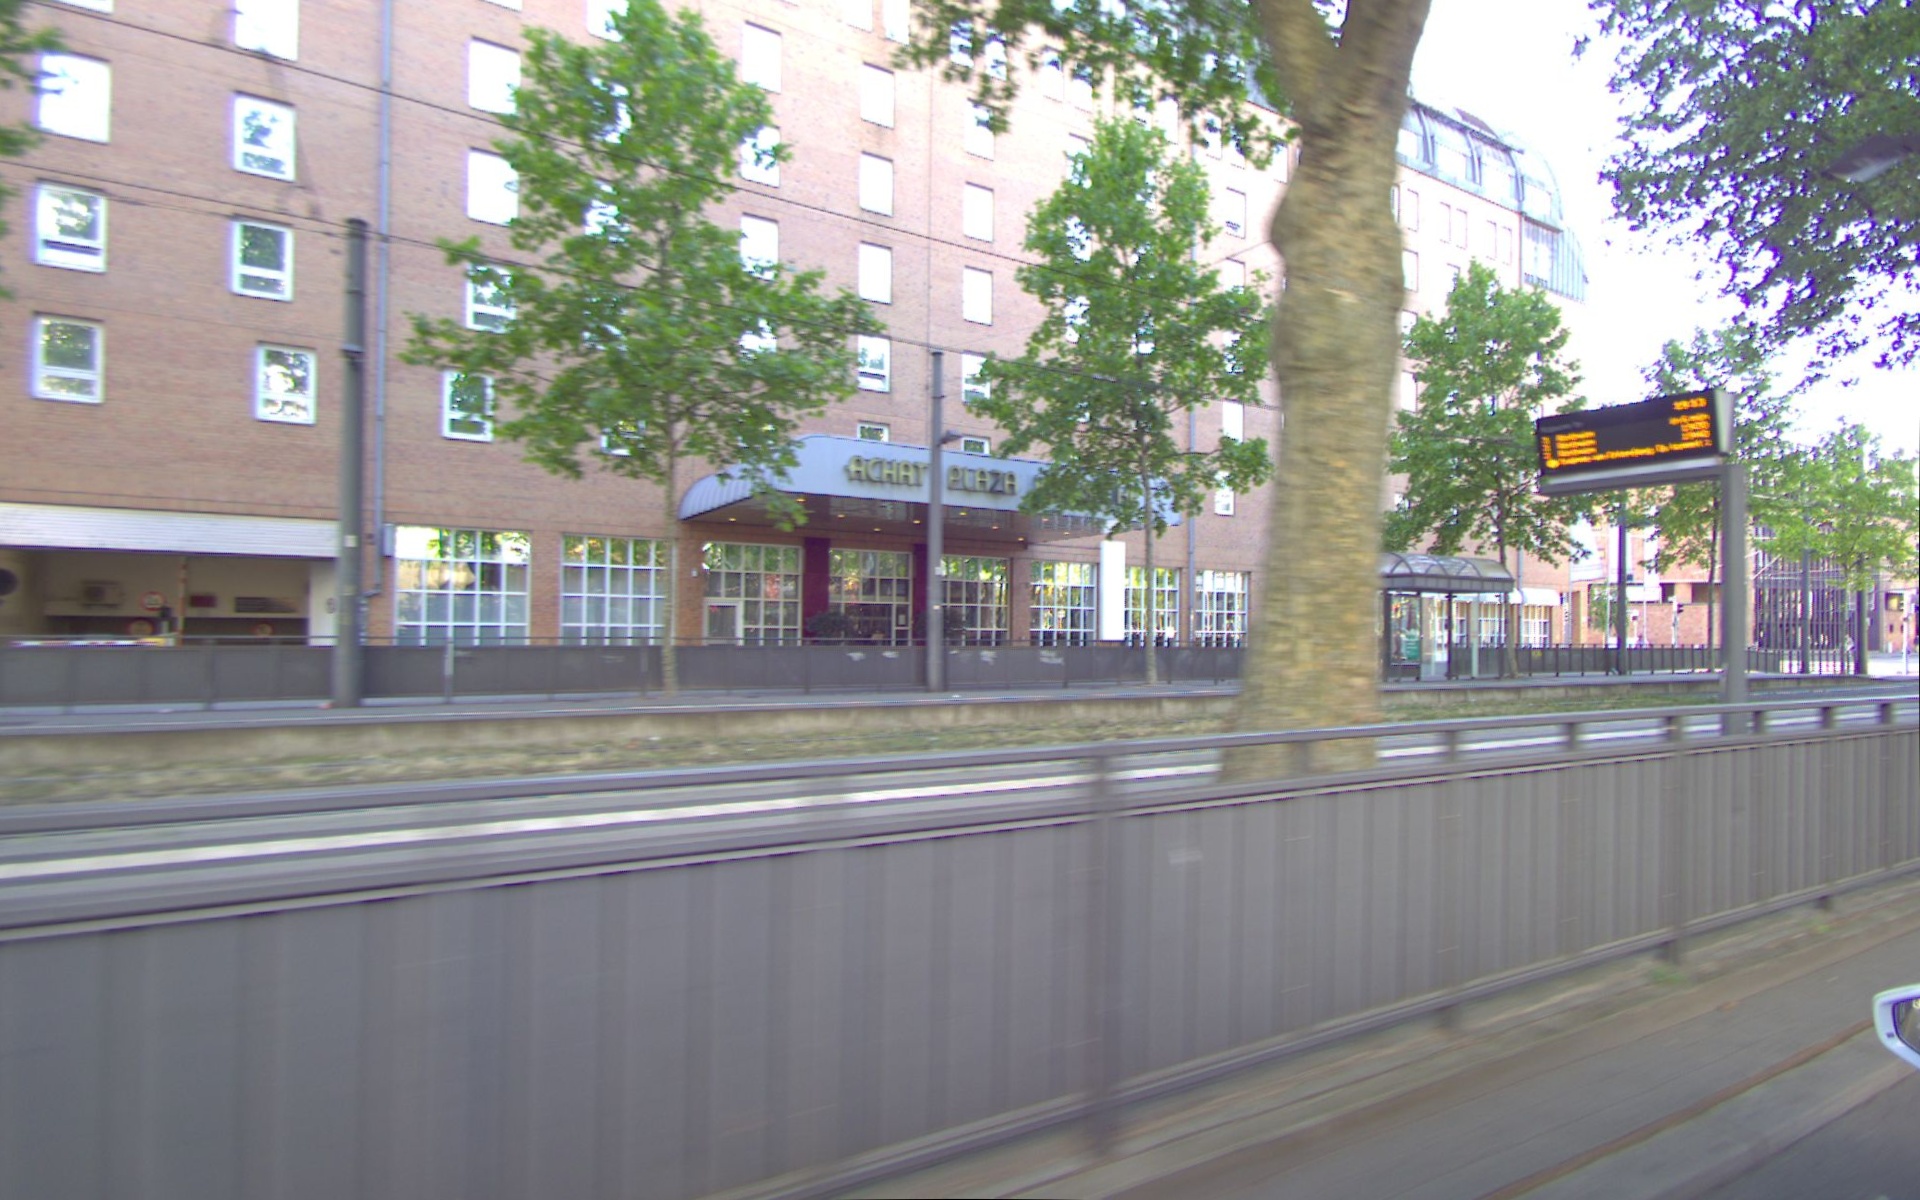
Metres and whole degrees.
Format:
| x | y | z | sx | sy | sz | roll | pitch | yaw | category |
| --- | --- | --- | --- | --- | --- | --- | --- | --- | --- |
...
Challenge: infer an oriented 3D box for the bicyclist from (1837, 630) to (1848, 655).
| x | y | z | sx | sy | sz | roll | pitch | yaw | category |
| --- | --- | --- | --- | --- | --- | --- | --- | --- | --- |
| 74.661 | 3.572 | 84.948 | 0.551 | 2.087 | 0.451 | 0 | -2 | 20 | bicyclist |

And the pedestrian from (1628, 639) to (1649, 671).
| x | y | z | sx | sy | sz | roll | pitch | yaw | category |
| --- | --- | --- | --- | --- | --- | --- | --- | --- | --- |
| 34.505 | 2.781 | 51.088 | 0.718 | 1.605 | 0.585 | 2 | 1 | -35 | pedestrian |

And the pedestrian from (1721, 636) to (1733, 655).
| x | y | z | sx | sy | sz | roll | pitch | yaw | category |
| --- | --- | --- | --- | --- | --- | --- | --- | --- | --- |
| 65.431 | 3.850 | 85.683 | 0.560 | 1.635 | 0.545 | 1 | -1 | -2 | pedestrian |

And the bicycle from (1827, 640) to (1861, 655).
| x | y | z | sx | sy | sz | roll | pitch | yaw | category |
| --- | --- | --- | --- | --- | --- | --- | --- | --- | --- |
| 74.725 | 4.043 | 84.918 | 2.055 | 1.255 | 0.453 | 0 | -2 | 20 | bicycle |
